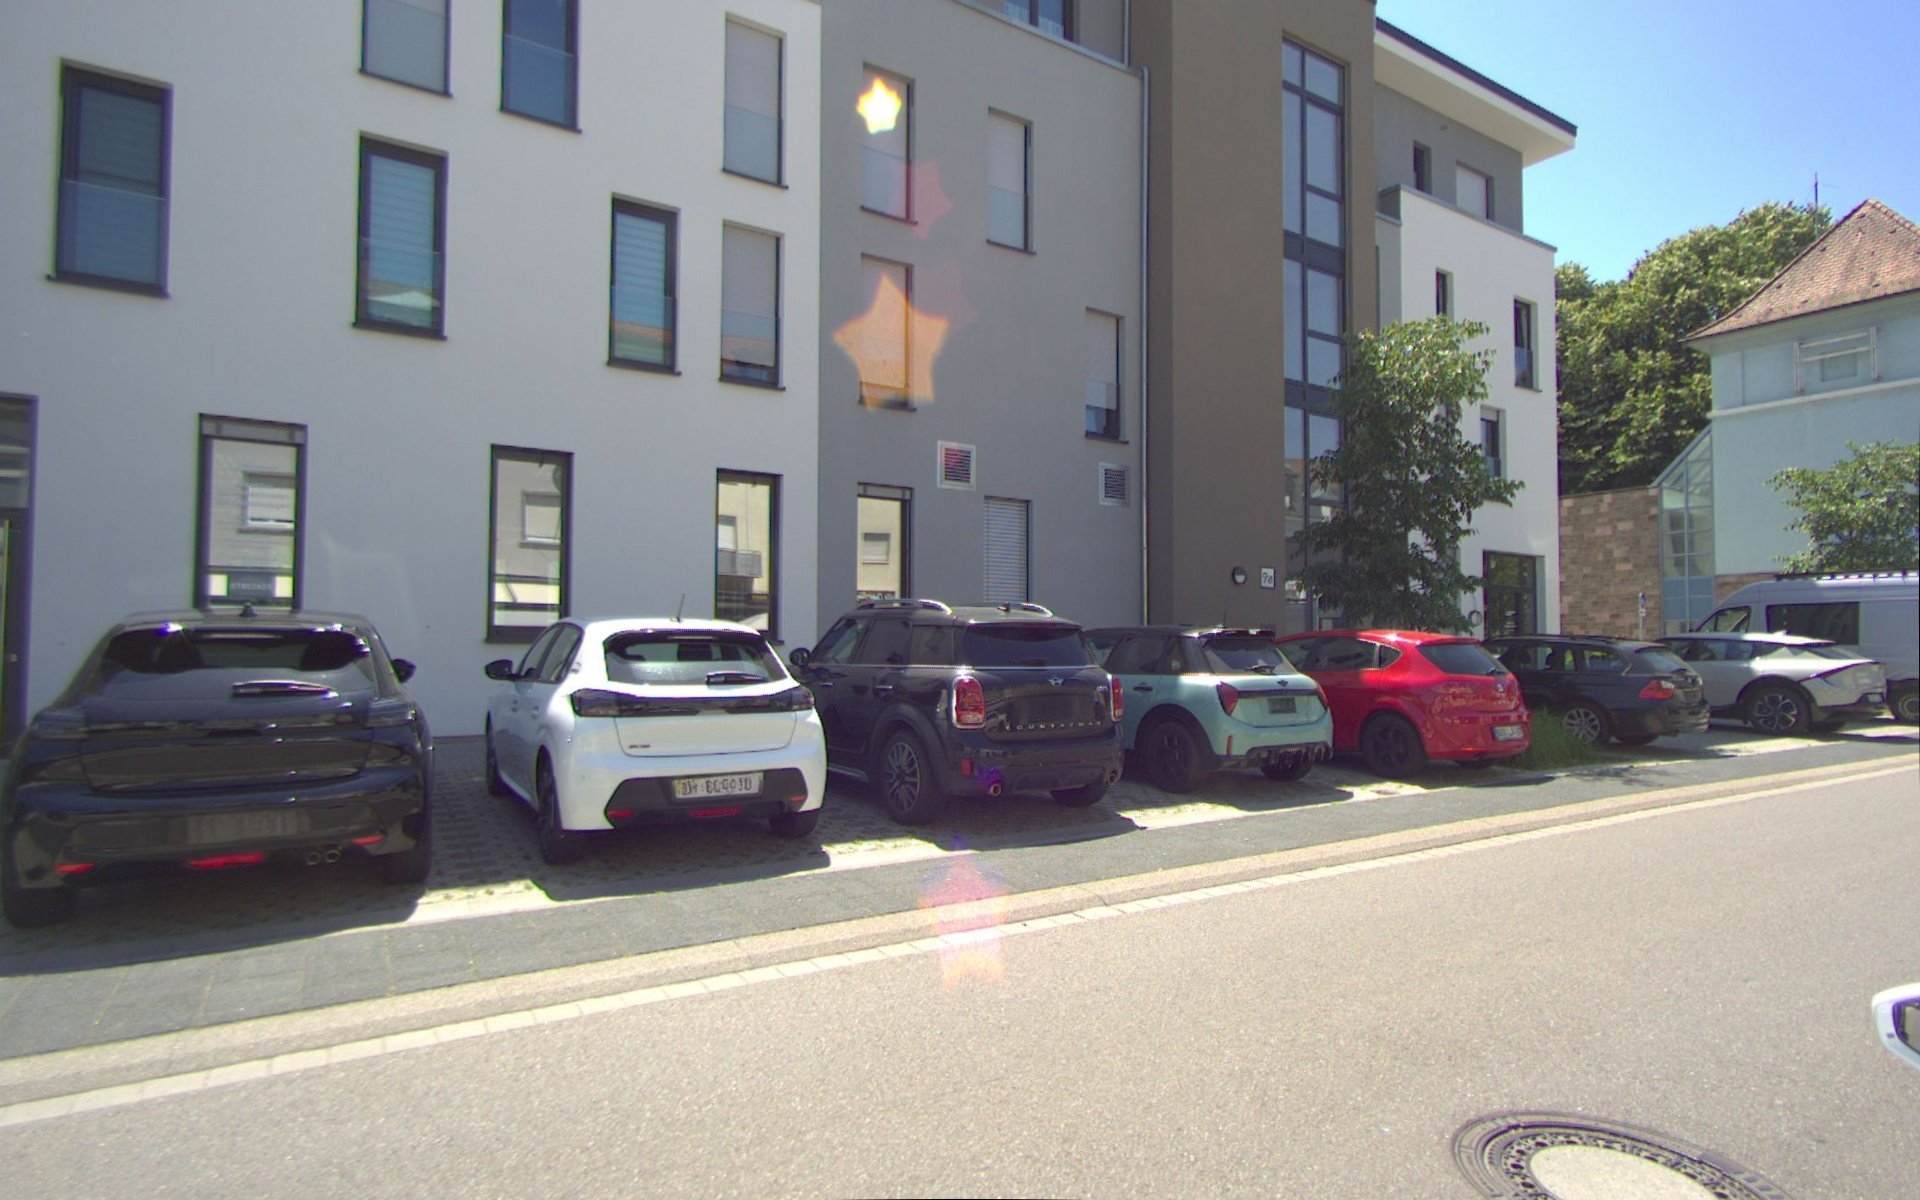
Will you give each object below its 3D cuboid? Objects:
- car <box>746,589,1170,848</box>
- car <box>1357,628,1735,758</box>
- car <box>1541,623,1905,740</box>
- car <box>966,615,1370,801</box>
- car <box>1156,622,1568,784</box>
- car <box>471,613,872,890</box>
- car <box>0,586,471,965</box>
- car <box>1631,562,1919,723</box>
[{"bbox_3d":[-0.278,0.819,8.738,1.976,1.673,4.014,2,-2,-29],"label":"car"},{"bbox_3d":[7.958,1.165,14.005,1.868,1.456,4.171,2,-2,-36],"label":"car"},{"bbox_3d":[12.436,1.230,16.692,1.978,1.612,4.430,2,-2,-32],"label":"car"},{"bbox_3d":[1.911,0.937,10.444,1.976,1.516,4.014,2,-2,-29],"label":"car"},{"bbox_3d":[4.348,1.015,11.477,1.977,1.449,4.012,2,-2,-31],"label":"car"},{"bbox_3d":[-2.382,0.847,7.468,1.888,1.440,3.967,2,-2,-31],"label":"car"},{"bbox_3d":[-4.274,0.743,6.167,1.977,1.535,3.967,1,-1,-30],"label":"car"},{"bbox_3d":[16.568,0.780,19.294,2.265,2.768,5.739,2,-2,-31],"label":"car"}]
